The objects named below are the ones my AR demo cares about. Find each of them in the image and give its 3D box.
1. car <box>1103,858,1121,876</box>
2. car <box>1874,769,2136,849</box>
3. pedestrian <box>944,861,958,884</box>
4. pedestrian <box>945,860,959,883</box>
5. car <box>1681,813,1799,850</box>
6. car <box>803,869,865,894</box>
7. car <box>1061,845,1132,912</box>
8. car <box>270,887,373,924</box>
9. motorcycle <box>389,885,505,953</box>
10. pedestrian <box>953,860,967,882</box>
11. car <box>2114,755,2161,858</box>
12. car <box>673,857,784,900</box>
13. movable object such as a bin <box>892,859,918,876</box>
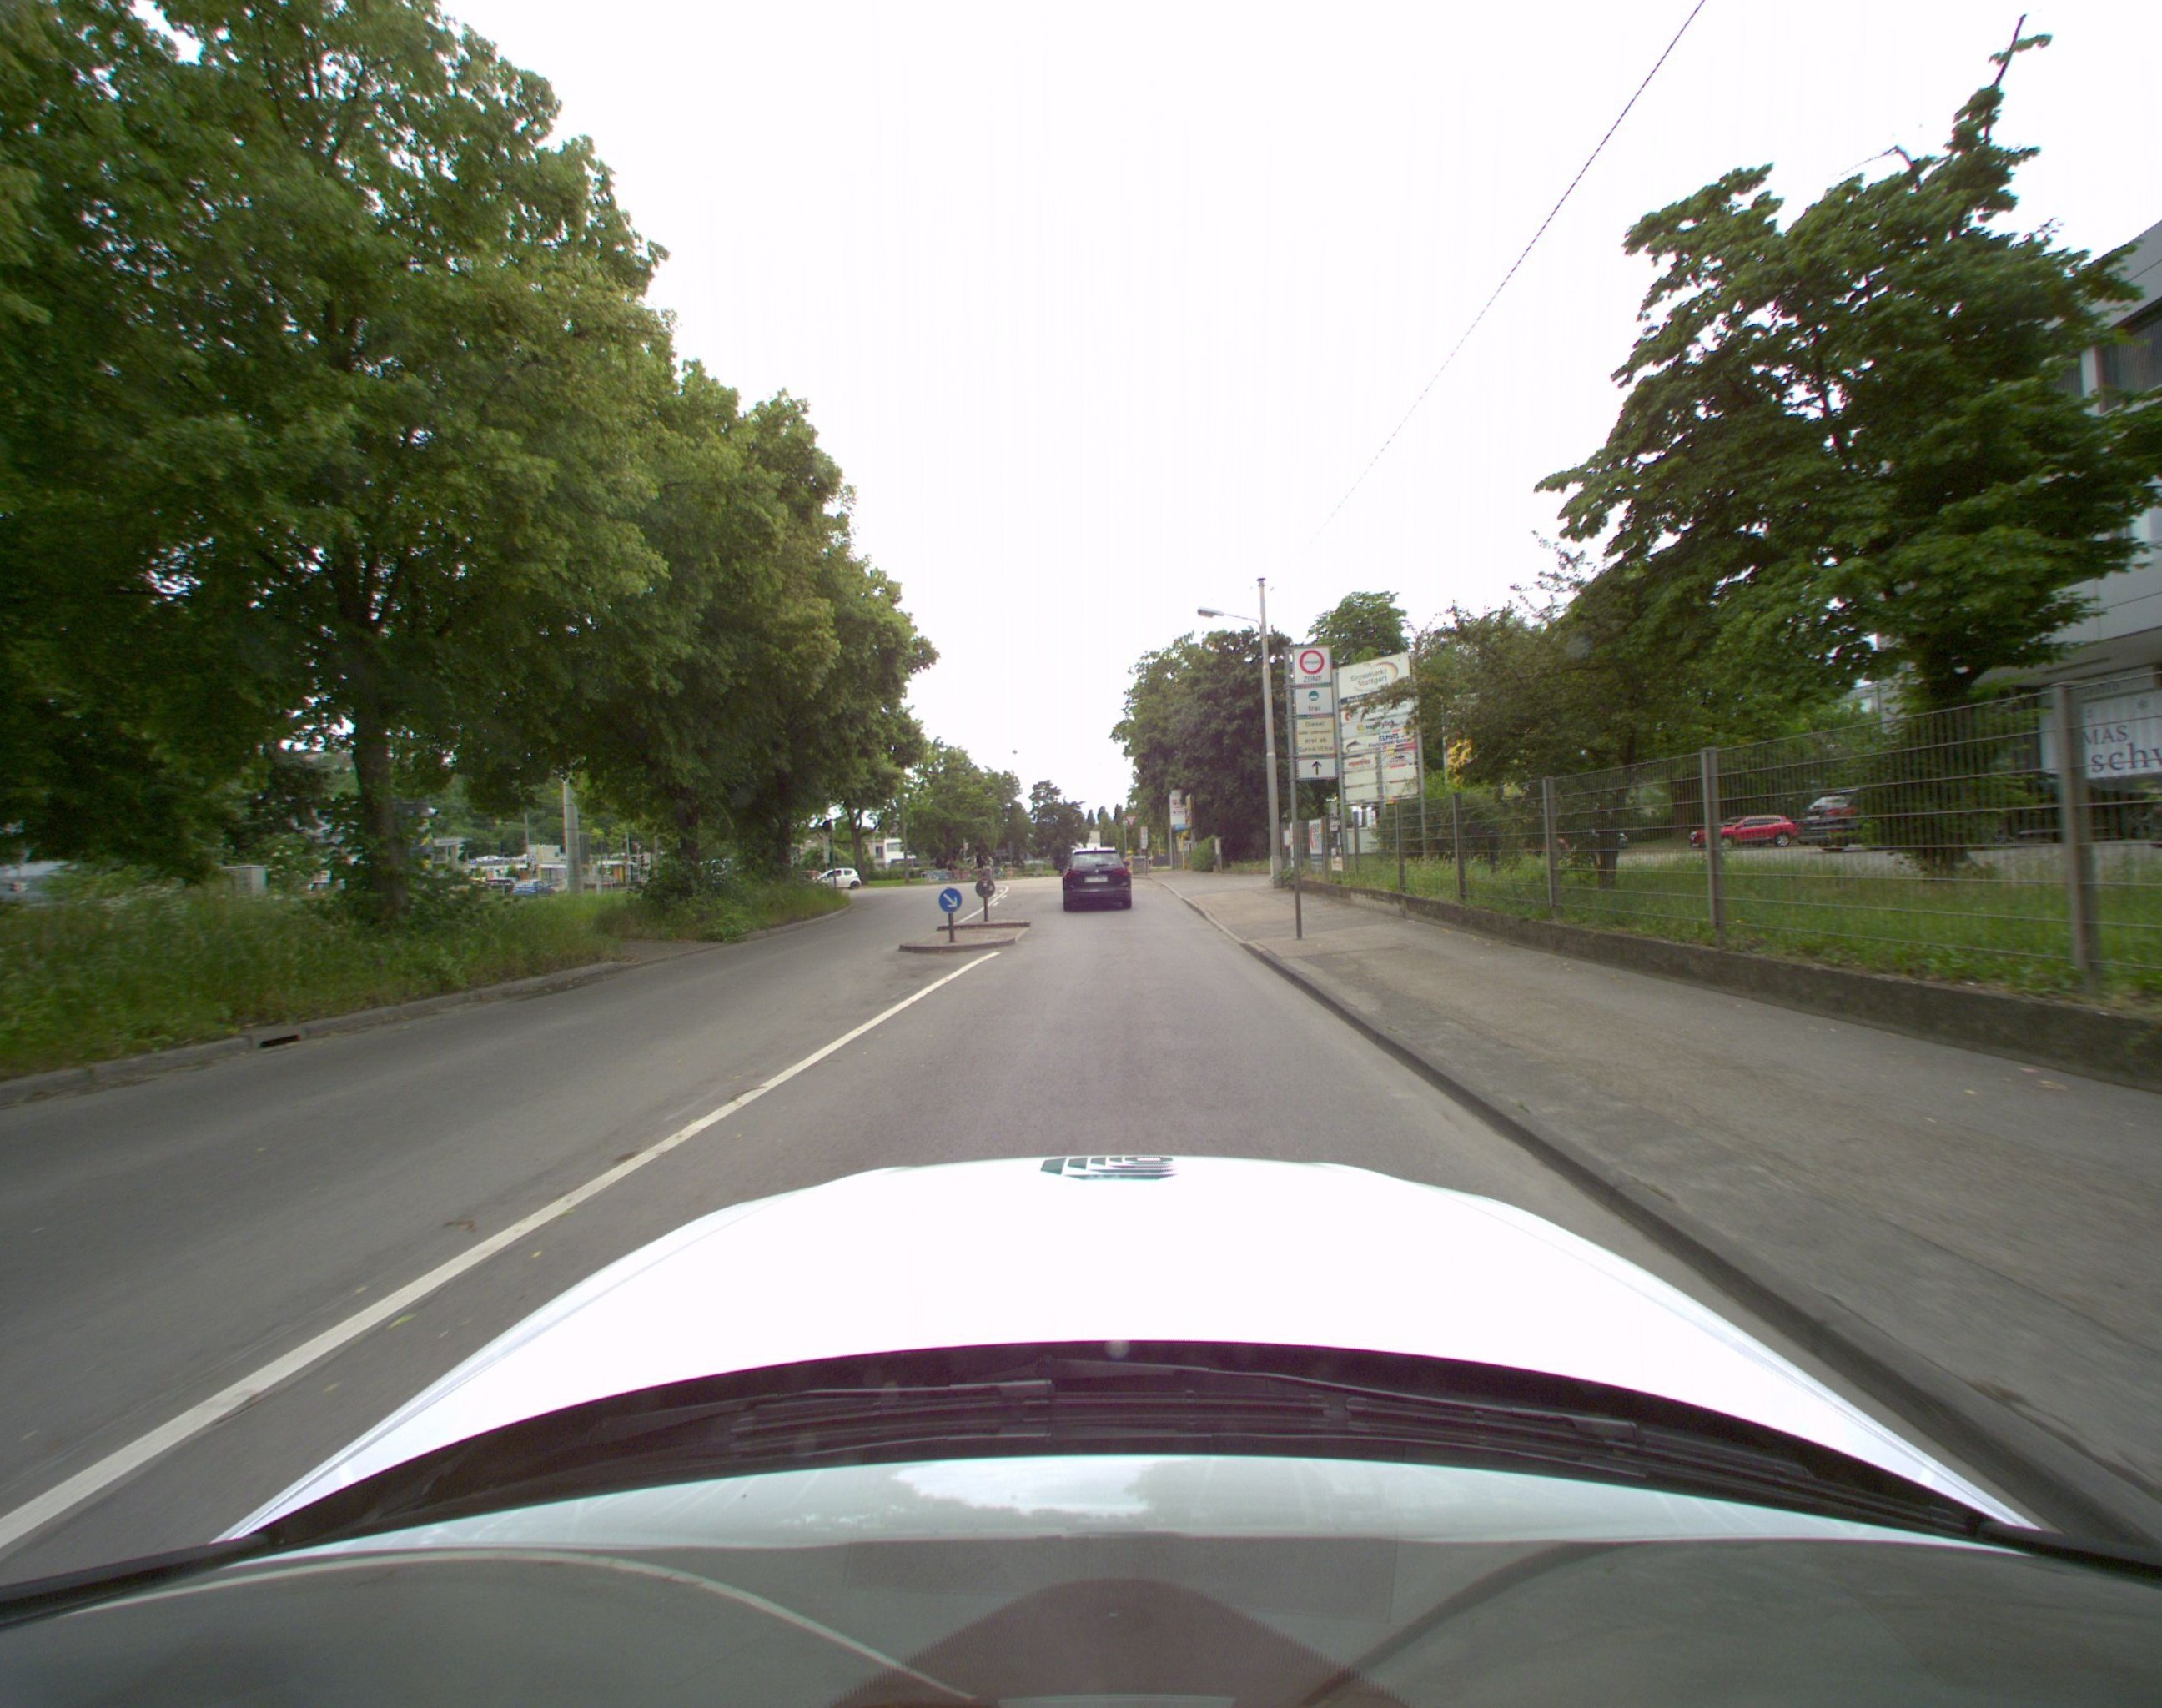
[{"bbox_3d":[3.121,1.287,81.542,1.651,1.574,3.833,-4,-1,4],"label":"car"},{"bbox_3d":[21.094,-0.974,18.752,3.681,1.534,1.833,-3,0,6],"label":"car"},{"bbox_3d":[-10.201,1.460,64.024,0.734,1.742,0.732,-3,-1,42],"label":"pedestrian"},{"bbox_3d":[-10.298,1.406,65.007,0.734,1.742,0.732,-3,-1,42],"label":"pedestrian"},{"bbox_3d":[32.753,-1.093,40.597,4.207,1.544,1.833,-3,0,6],"label":"car"},{"bbox_3d":[-16.256,1.819,53.610,3.625,1.409,1.726,-3,0,-27],"label":"car"},{"bbox_3d":[0.406,0.593,22.363,1.733,1.618,3.641,-2,1,0],"label":"car"},{"bbox_3d":[-33.456,2.242,35.954,1.547,1.349,2.889,-3,0,13],"label":"car"},{"bbox_3d":[-12.753,1.274,16.463,0.563,1.168,2.038,-3,0,5],"label":"motorcycle"},{"bbox_3d":[-9.569,1.348,64.601,0.734,1.742,0.732,-3,-1,42],"label":"pedestrian"},{"bbox_3d":[18.248,-0.819,11.041,4.798,1.534,2.036,-3,0,29],"label":"car"},{"bbox_3d":[-22.759,1.544,52.833,6.061,2.387,2.390,-3,0,-6],"label":"car"},{"bbox_3d":[-21.582,1.651,99.939,1.976,2.013,2.412,-3,0,23],"label":"movable object such as a bin"}]
